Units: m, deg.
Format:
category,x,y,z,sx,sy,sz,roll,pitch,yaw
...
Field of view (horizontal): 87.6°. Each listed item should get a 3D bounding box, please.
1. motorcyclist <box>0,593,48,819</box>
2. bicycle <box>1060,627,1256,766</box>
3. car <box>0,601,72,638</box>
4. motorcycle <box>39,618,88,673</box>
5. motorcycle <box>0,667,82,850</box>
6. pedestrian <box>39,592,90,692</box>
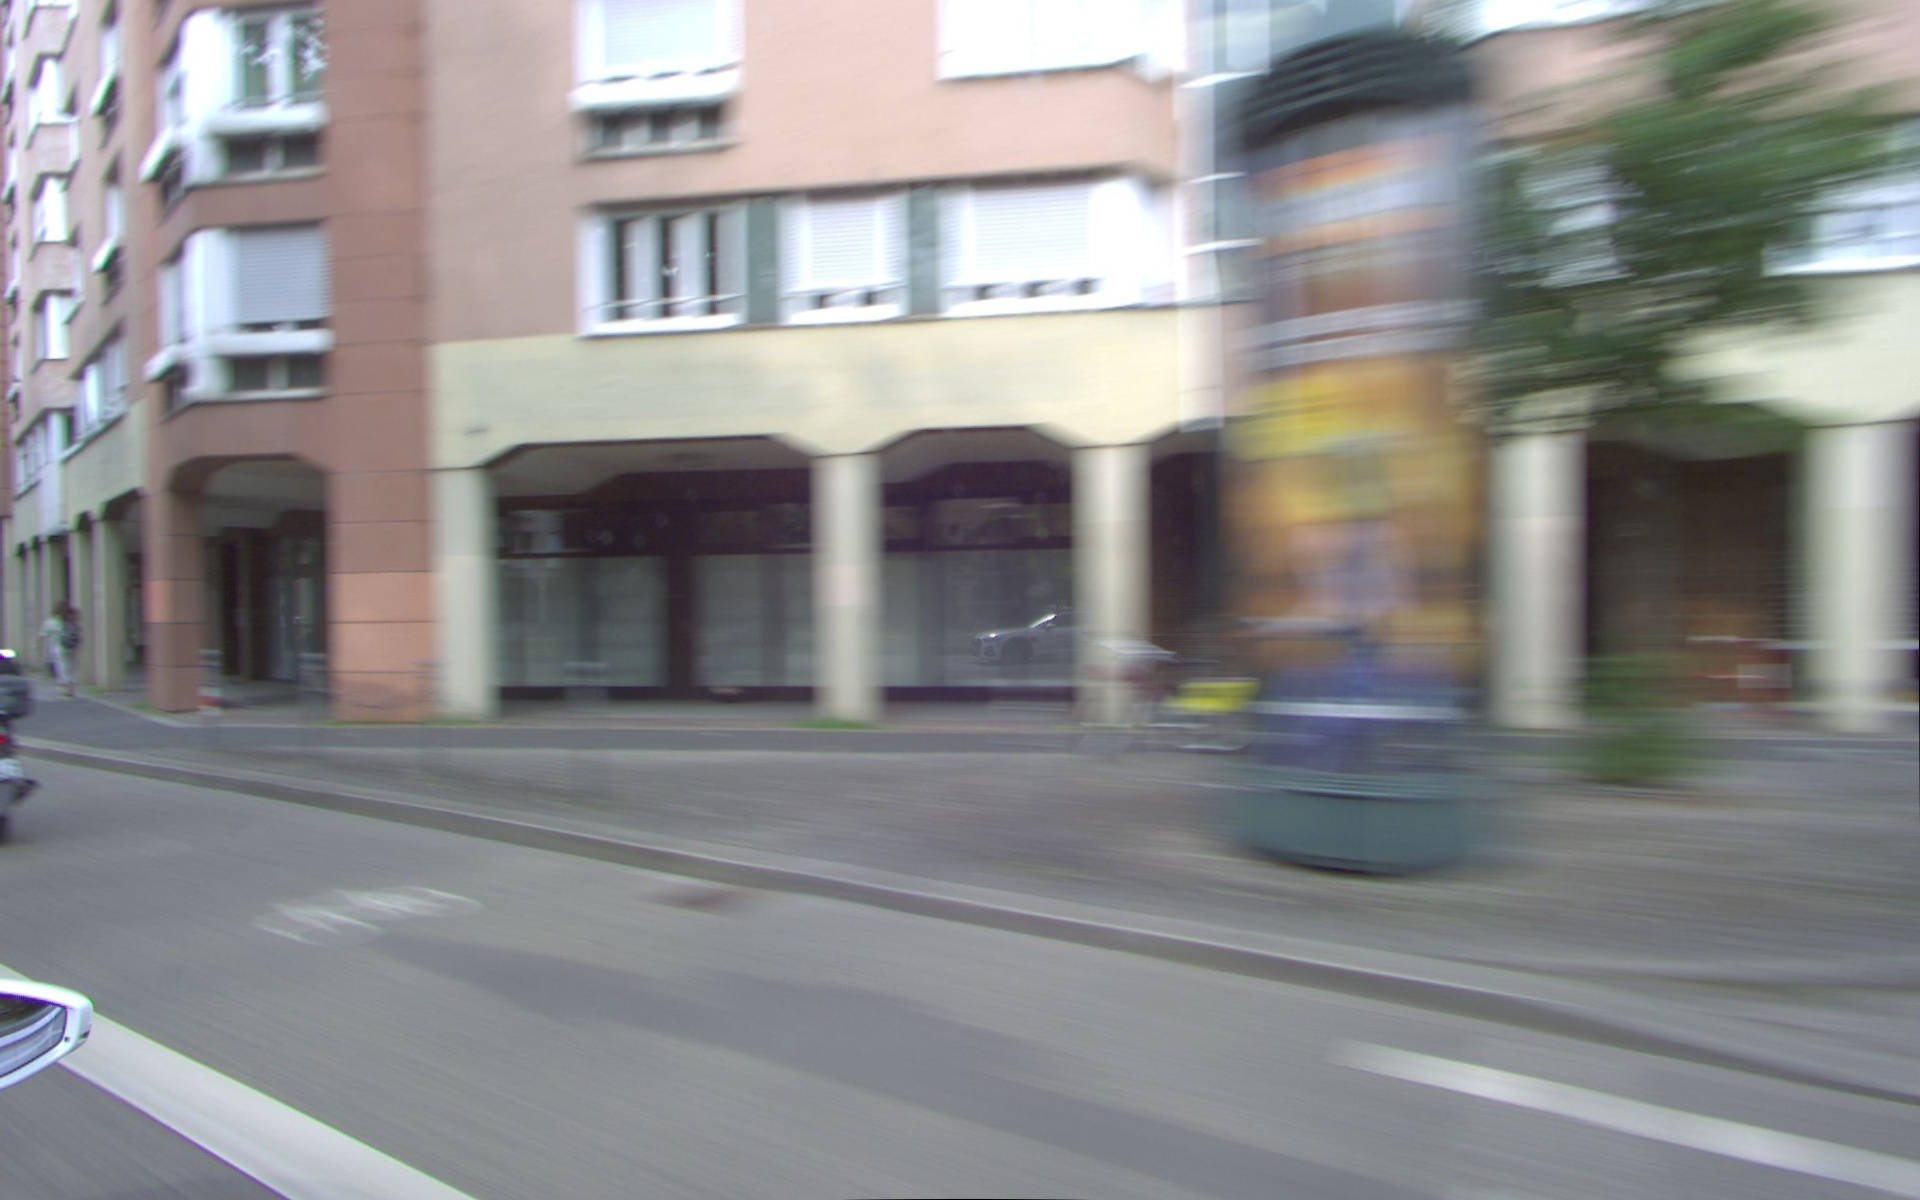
category,x,y,z,sx,sy,sz,roll,pitch,yaw
motorcyclist,-7.050,0.728,6.965,1.002,1.539,0.758,-1,0,30
bicycle,1.808,0.845,9.169,1.636,1.144,0.669,-1,1,-18
car,-48.183,0.996,50.588,1.979,1.848,4.800,-3,-2,43
motorcycle,-20.582,1.017,22.979,1.882,1.171,0.613,1,2,43
motorcycle,-7.074,1.056,6.988,2.175,1.122,0.766,-1,0,30
pedestrian,-15.489,0.711,17.315,0.815,1.671,0.541,0,0,39
